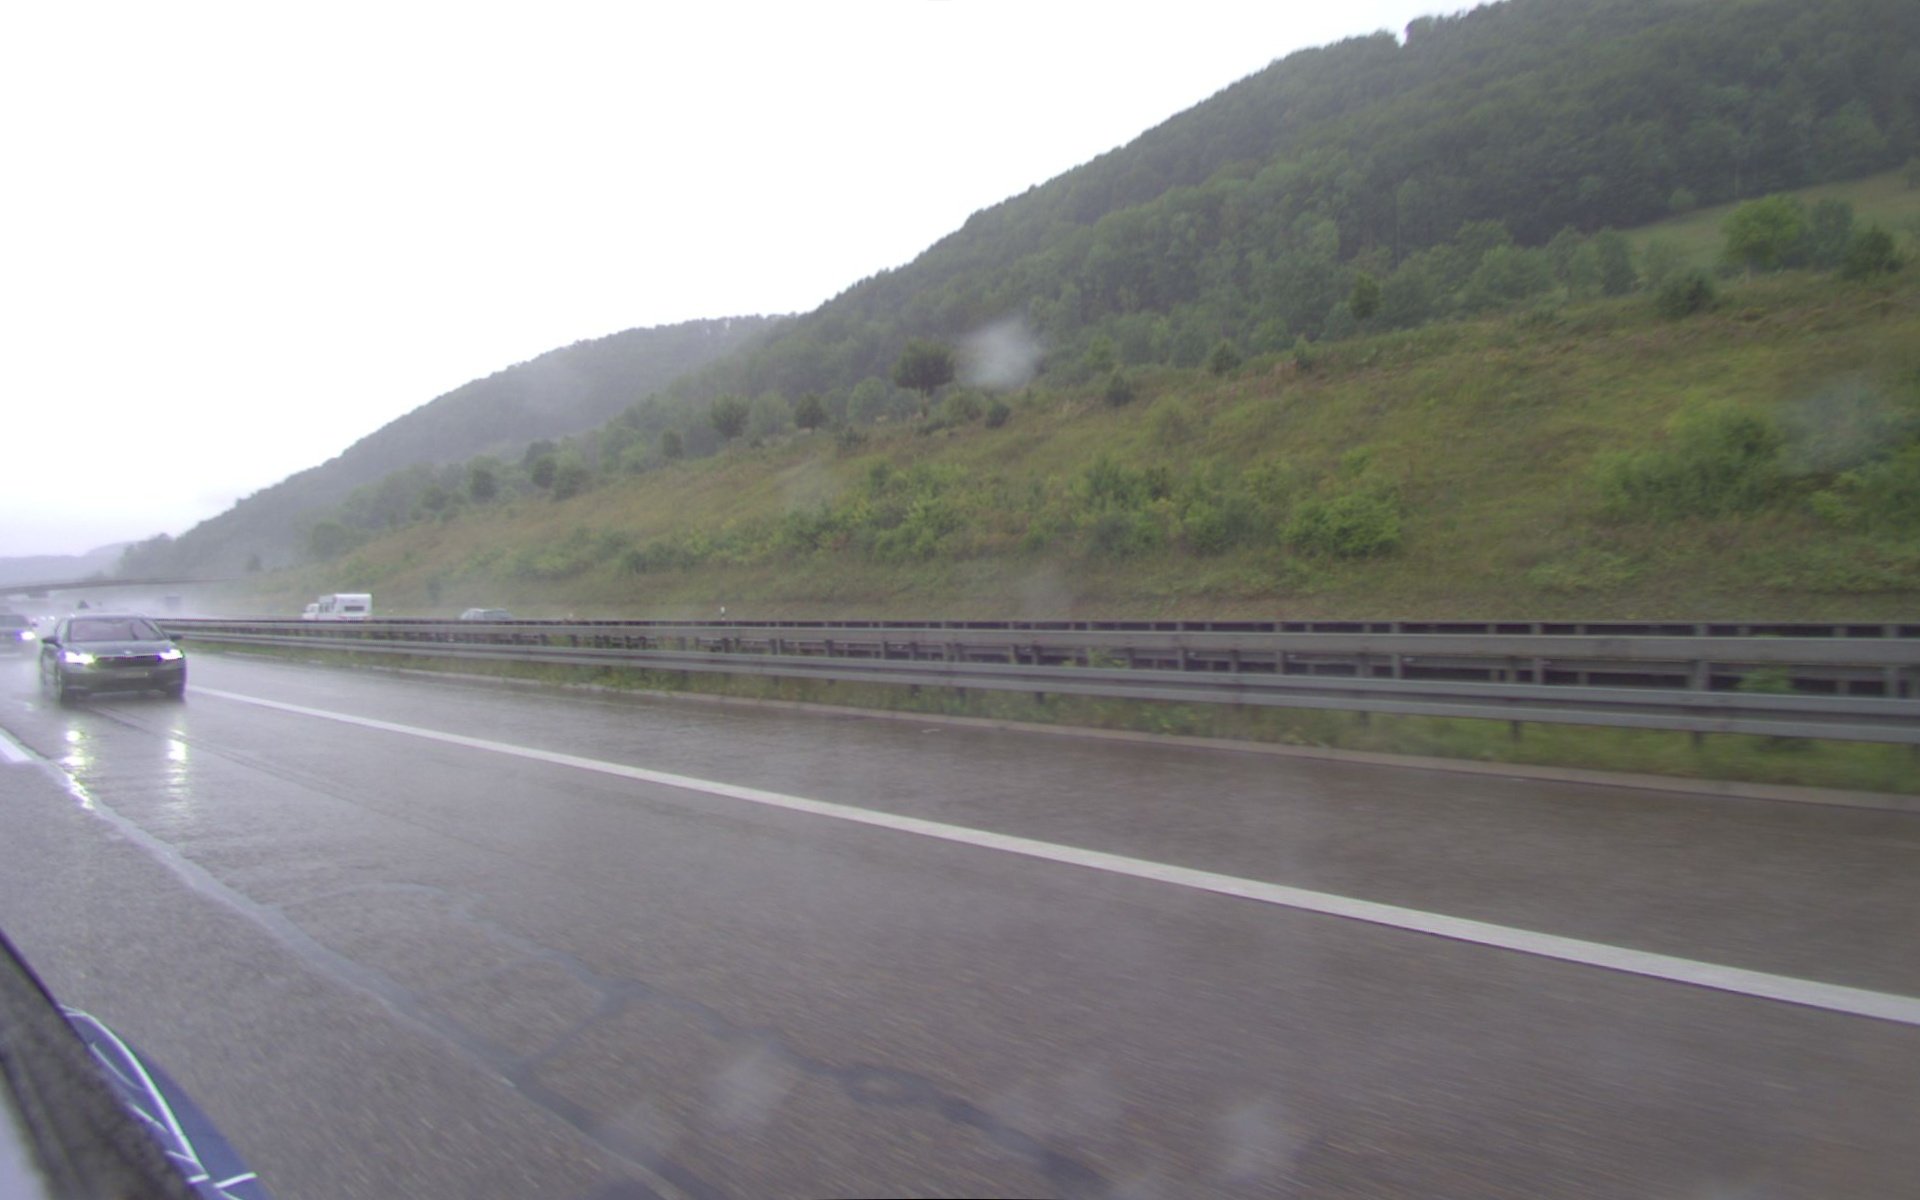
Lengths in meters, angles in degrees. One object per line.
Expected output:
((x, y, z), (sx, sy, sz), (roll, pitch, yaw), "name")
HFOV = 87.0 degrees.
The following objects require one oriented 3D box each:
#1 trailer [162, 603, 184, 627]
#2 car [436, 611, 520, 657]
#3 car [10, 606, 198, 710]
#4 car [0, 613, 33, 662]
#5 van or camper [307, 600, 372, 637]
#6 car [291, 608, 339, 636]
((-165.126, 3.106, 212.279), (2.703, 4.821, 14.060), (-2, 0, -42), "trailer")
((-21.303, 1.481, 44.645), (3.999, 1.874, 1.972), (-2, -1, 42), "car")
((-16.607, 1.018, 19.539), (4.906, 1.696, 1.973), (-1, 1, 41), "car")
((-36.305, 1.399, 38.049), (3.748, 1.715, 1.791), (-1, 1, 42), "car")
((-46.029, 1.347, 75.036), (7.206, 2.583, 2.318), (-1, 0, 44), "van or camper")
((-50.515, 1.725, 79.218), (5.179, 2.030, 1.971), (-1, 0, 44), "car")
